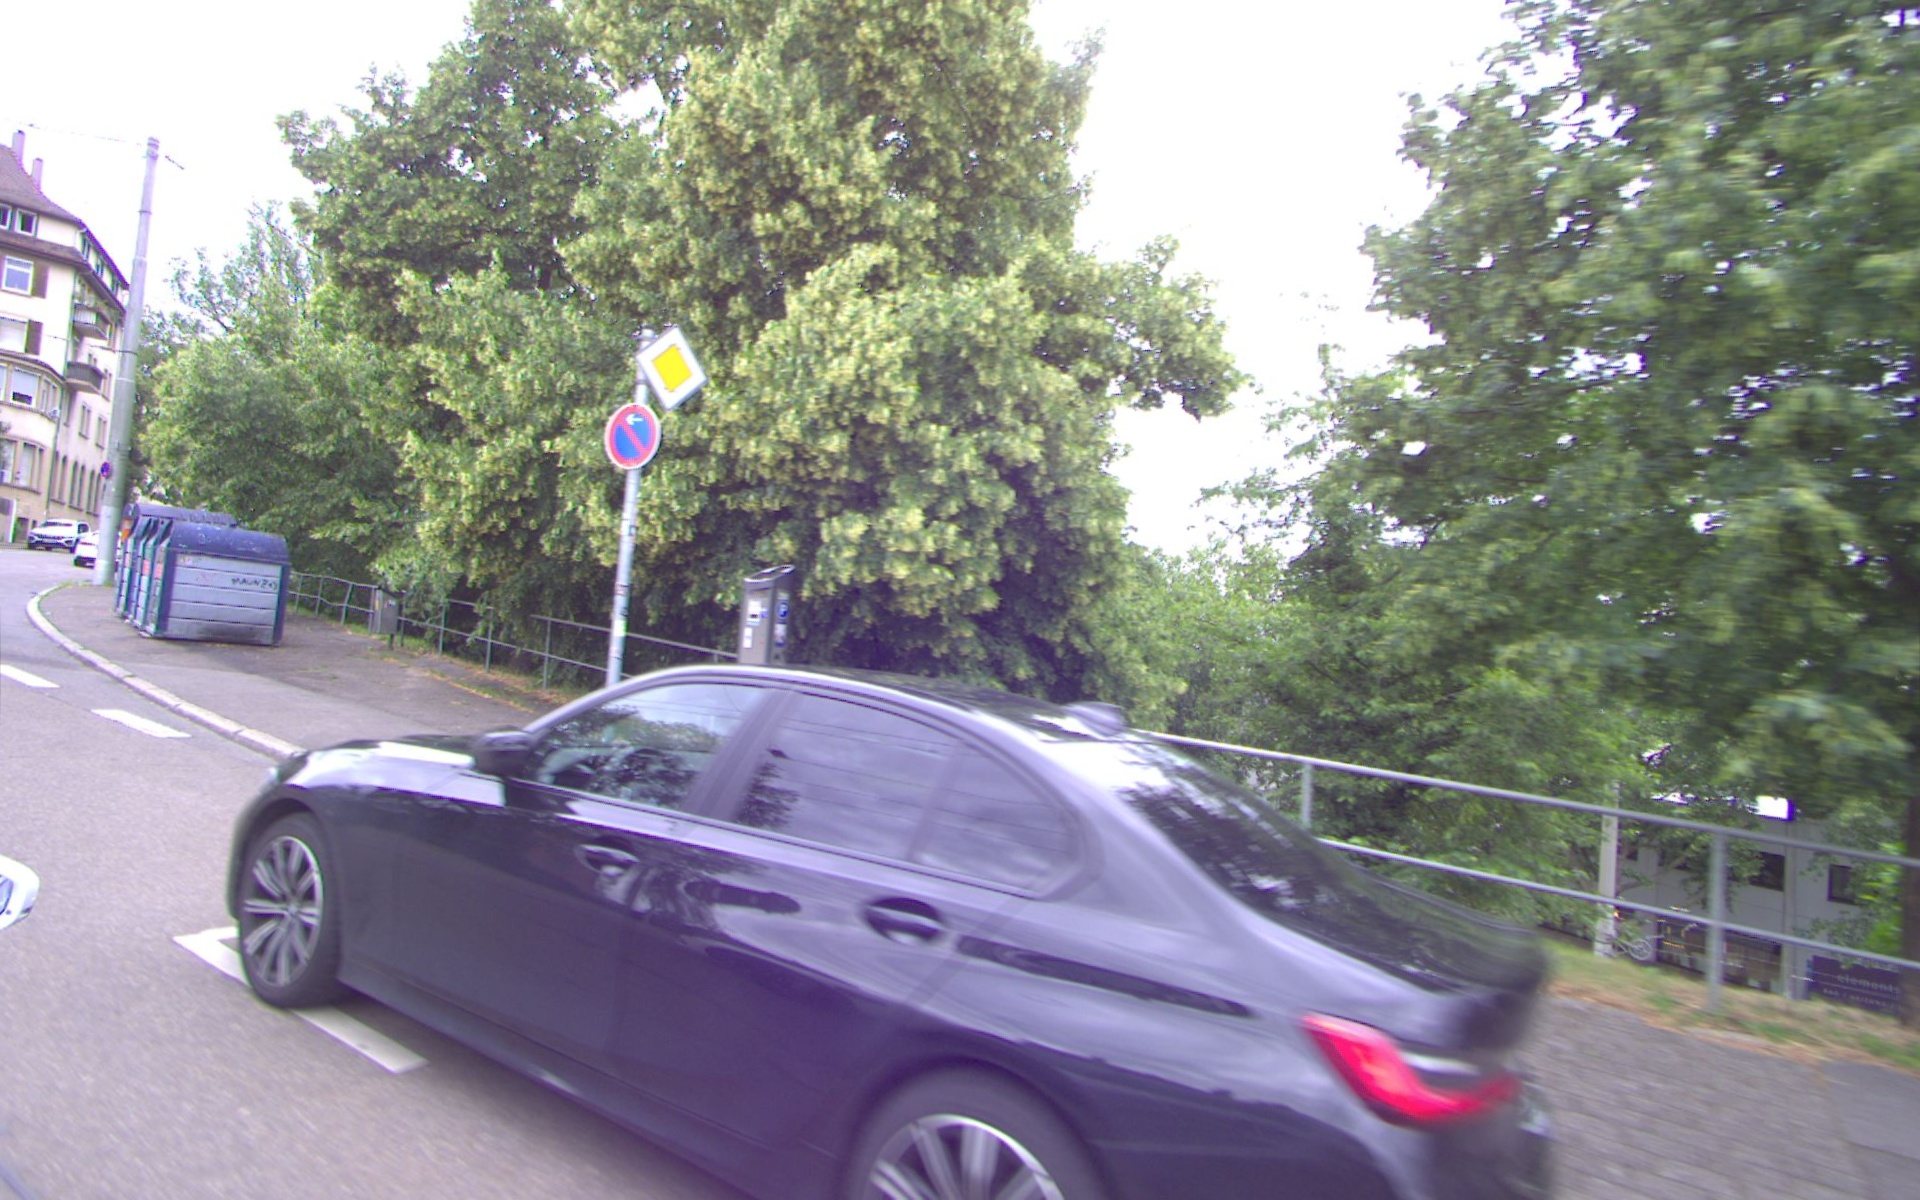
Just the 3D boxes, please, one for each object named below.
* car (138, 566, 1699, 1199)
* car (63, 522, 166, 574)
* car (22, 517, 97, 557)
[{"bbox_3d":[-0.592,0.918,3.463,4.766,1.445,1.833,6,-4,31],"label":"car"},{"bbox_3d":[-30.886,-1.858,36.913,1.979,1.496,4.432,8,-3,-30],"label":"car"},{"bbox_3d":[-43.813,-3.021,49.023,1.981,1.569,3.967,8,-3,-33],"label":"car"}]
